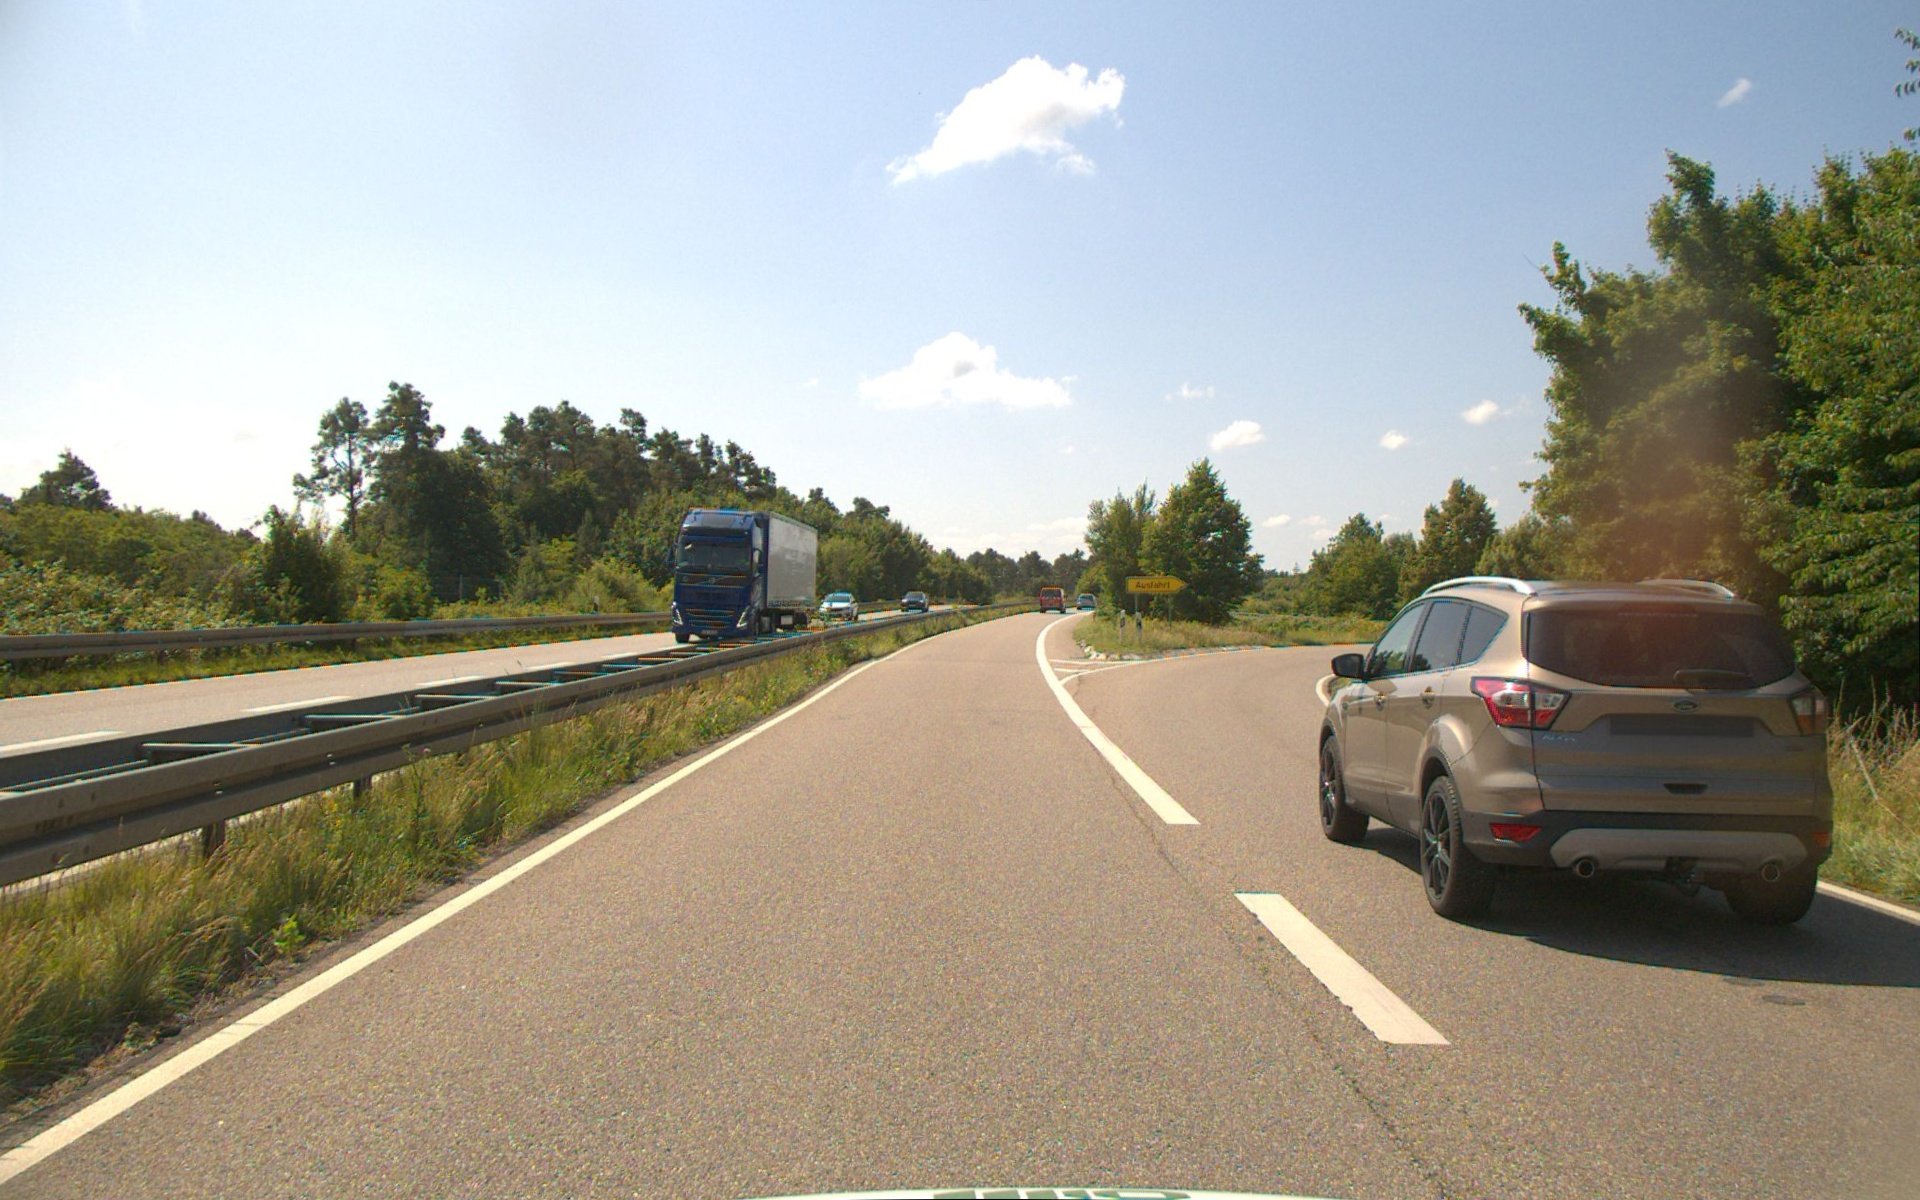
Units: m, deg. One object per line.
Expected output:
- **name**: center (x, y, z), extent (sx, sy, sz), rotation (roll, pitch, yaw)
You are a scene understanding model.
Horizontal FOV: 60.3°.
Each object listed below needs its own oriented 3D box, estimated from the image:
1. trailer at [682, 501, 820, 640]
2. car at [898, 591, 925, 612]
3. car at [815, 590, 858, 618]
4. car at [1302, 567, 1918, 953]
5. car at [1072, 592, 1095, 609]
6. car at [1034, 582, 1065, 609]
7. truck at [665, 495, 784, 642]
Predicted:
- **trailer**: center (-7.081, -0.917, 58.351), extent (2.689, 4.245, 14.584), rotation (1, 0, 1)
- **car**: center (-3.680, 0.087, 126.339), extent (1.719, 1.527, 4.576), rotation (1, 0, 3)
- **car**: center (-6.792, 0.192, 91.145), extent (1.756, 1.469, 4.608), rotation (1, 0, 3)
- **car**: center (3.373, 0.697, 9.697), extent (1.855, 1.695, 4.666), rotation (1, 0, 1)
- **car**: center (11.741, 0.030, 157.117), extent (1.964, 1.520, 4.241), rotation (1, 0, 7)
- **car**: center (7.105, -0.300, 130.954), extent (2.033, 2.028, 5.115), rotation (1, 0, 7)
- **truck**: center (-7.223, -0.916, 51.383), extent (2.710, 4.260, 5.598), rotation (1, 0, 1)
